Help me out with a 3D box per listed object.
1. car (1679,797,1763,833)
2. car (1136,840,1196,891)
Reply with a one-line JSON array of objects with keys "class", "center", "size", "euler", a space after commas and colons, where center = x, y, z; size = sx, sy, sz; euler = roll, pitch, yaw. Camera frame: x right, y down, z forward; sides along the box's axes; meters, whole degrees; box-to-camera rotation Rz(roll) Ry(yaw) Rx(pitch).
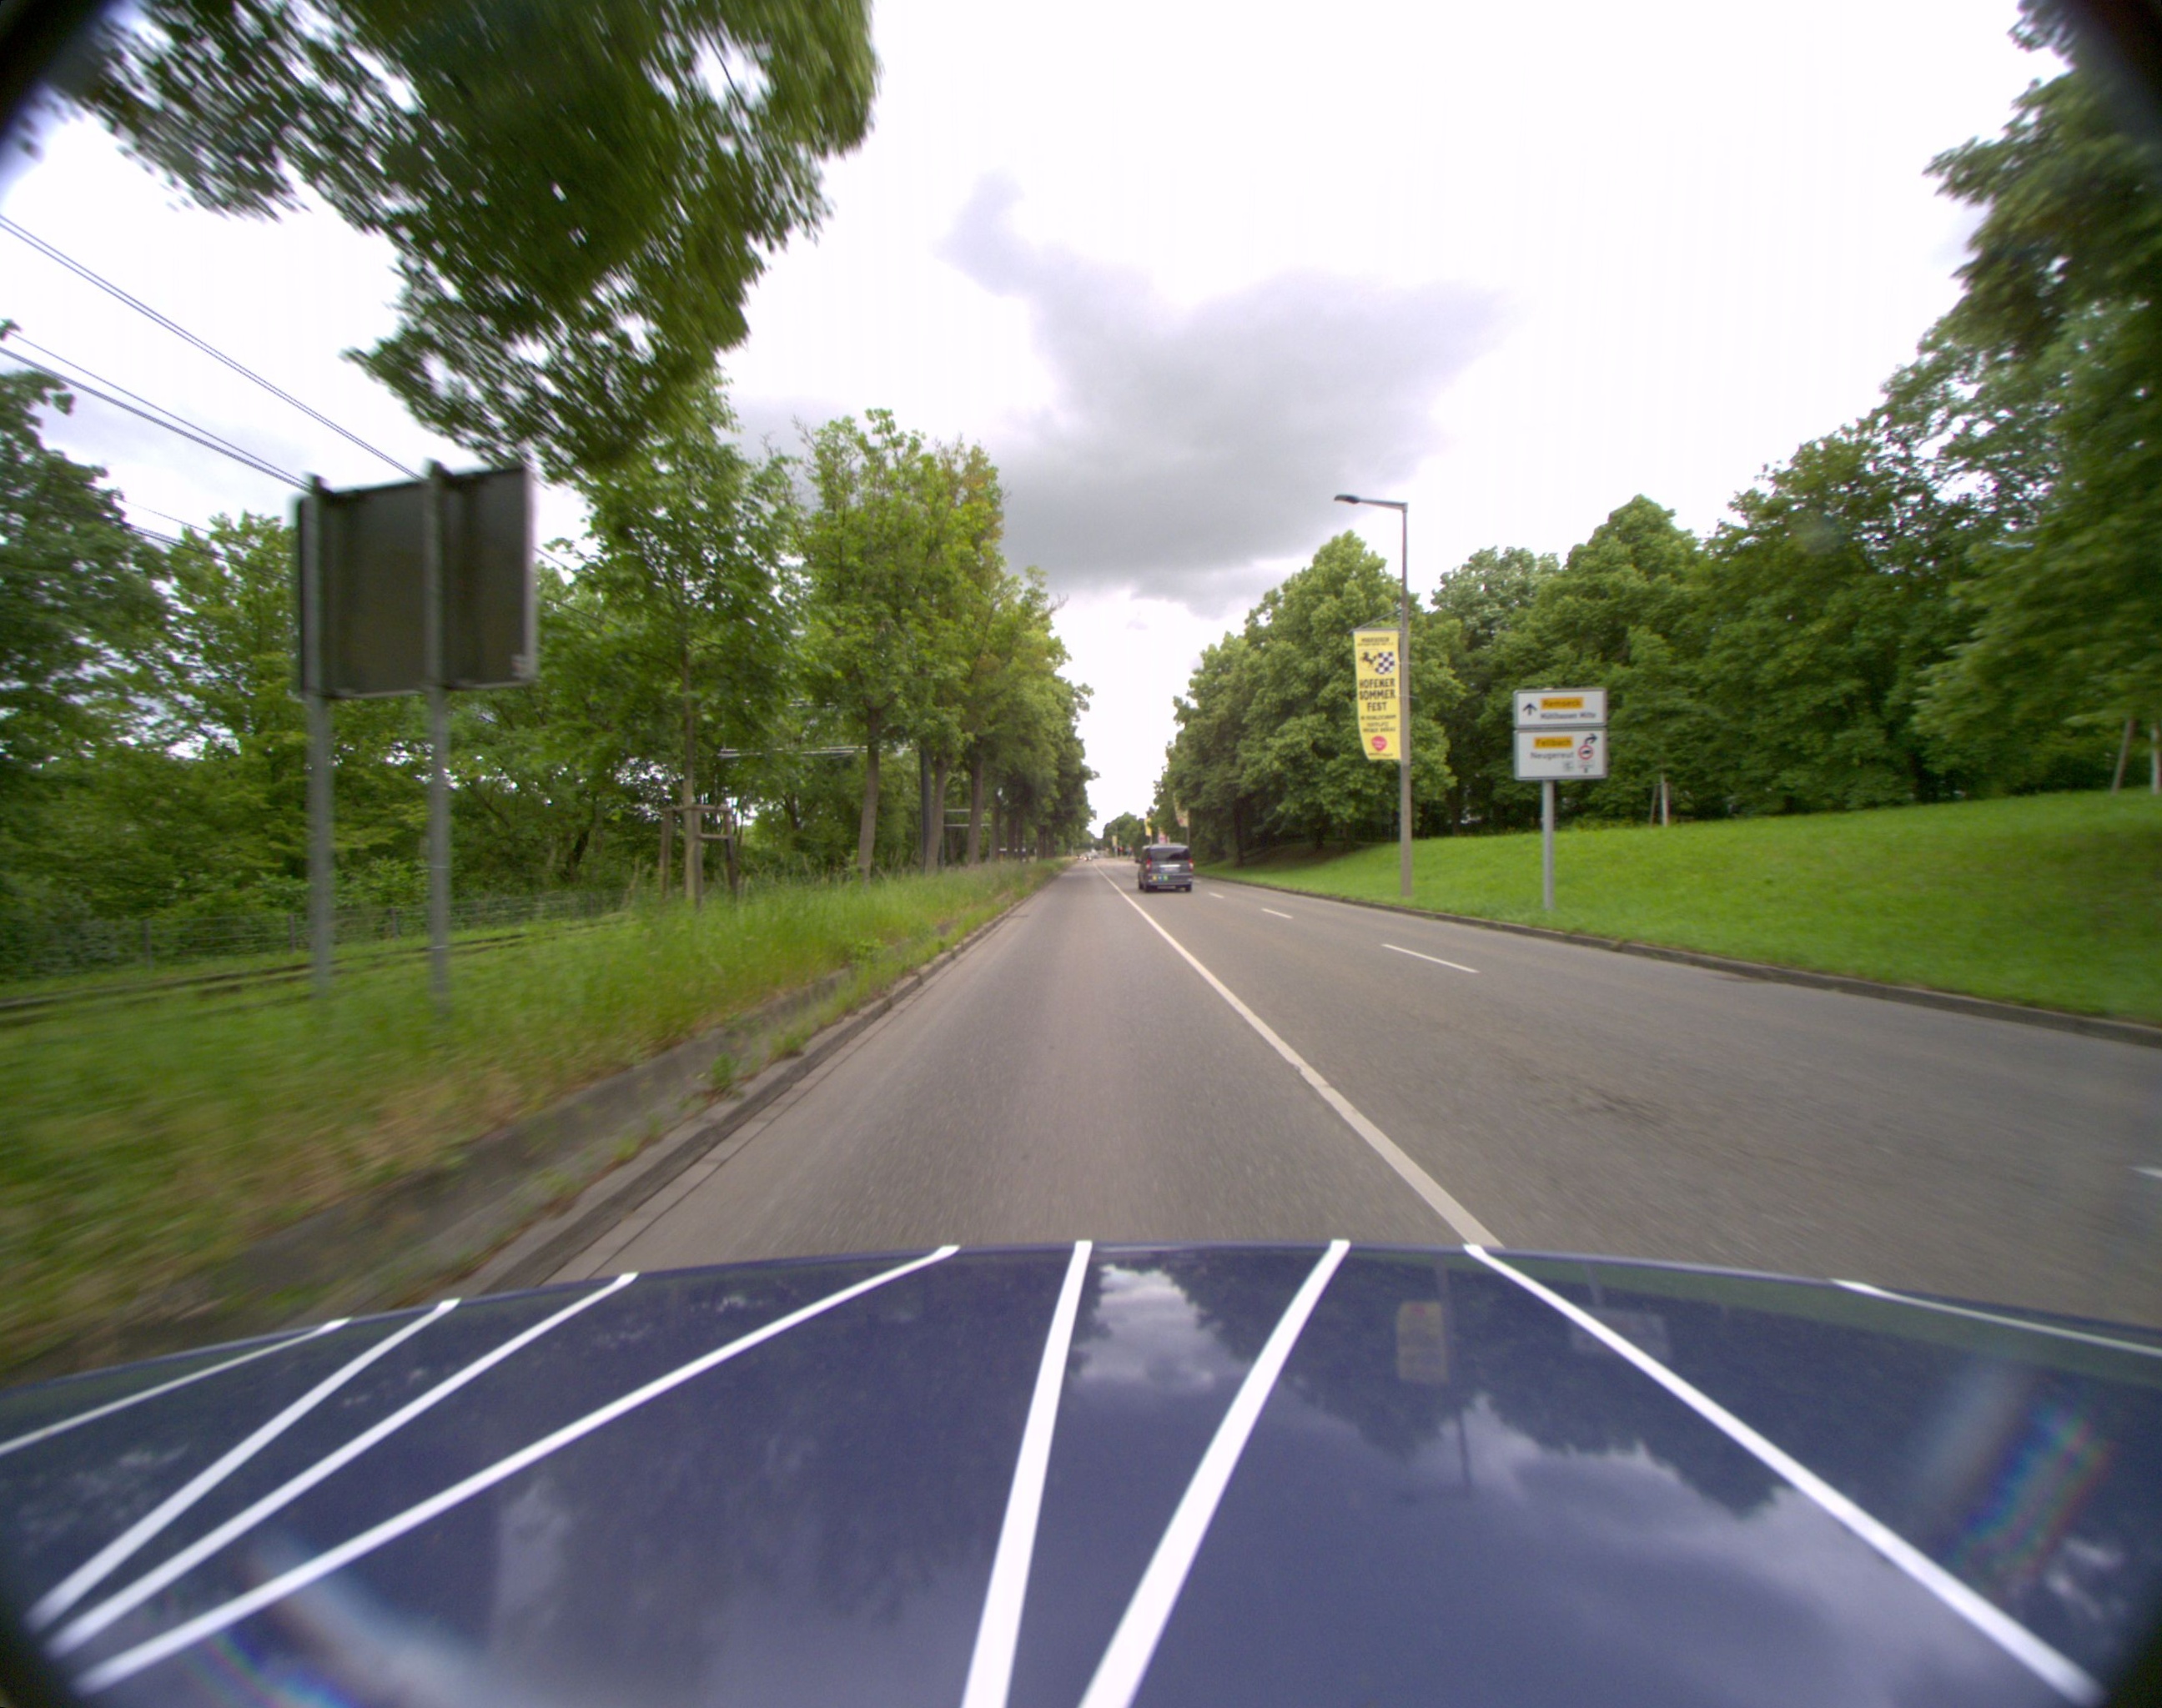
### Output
[{"class": "car", "center": [37.780, -2.301, 44.833], "size": [4.910, 1.884, 1.996], "euler": [-3, 1, -27]}, {"class": "car", "center": [3.489, 0.413, 31.958], "size": [1.998, 1.944, 5.183], "euler": [-1, 1, 1]}]
